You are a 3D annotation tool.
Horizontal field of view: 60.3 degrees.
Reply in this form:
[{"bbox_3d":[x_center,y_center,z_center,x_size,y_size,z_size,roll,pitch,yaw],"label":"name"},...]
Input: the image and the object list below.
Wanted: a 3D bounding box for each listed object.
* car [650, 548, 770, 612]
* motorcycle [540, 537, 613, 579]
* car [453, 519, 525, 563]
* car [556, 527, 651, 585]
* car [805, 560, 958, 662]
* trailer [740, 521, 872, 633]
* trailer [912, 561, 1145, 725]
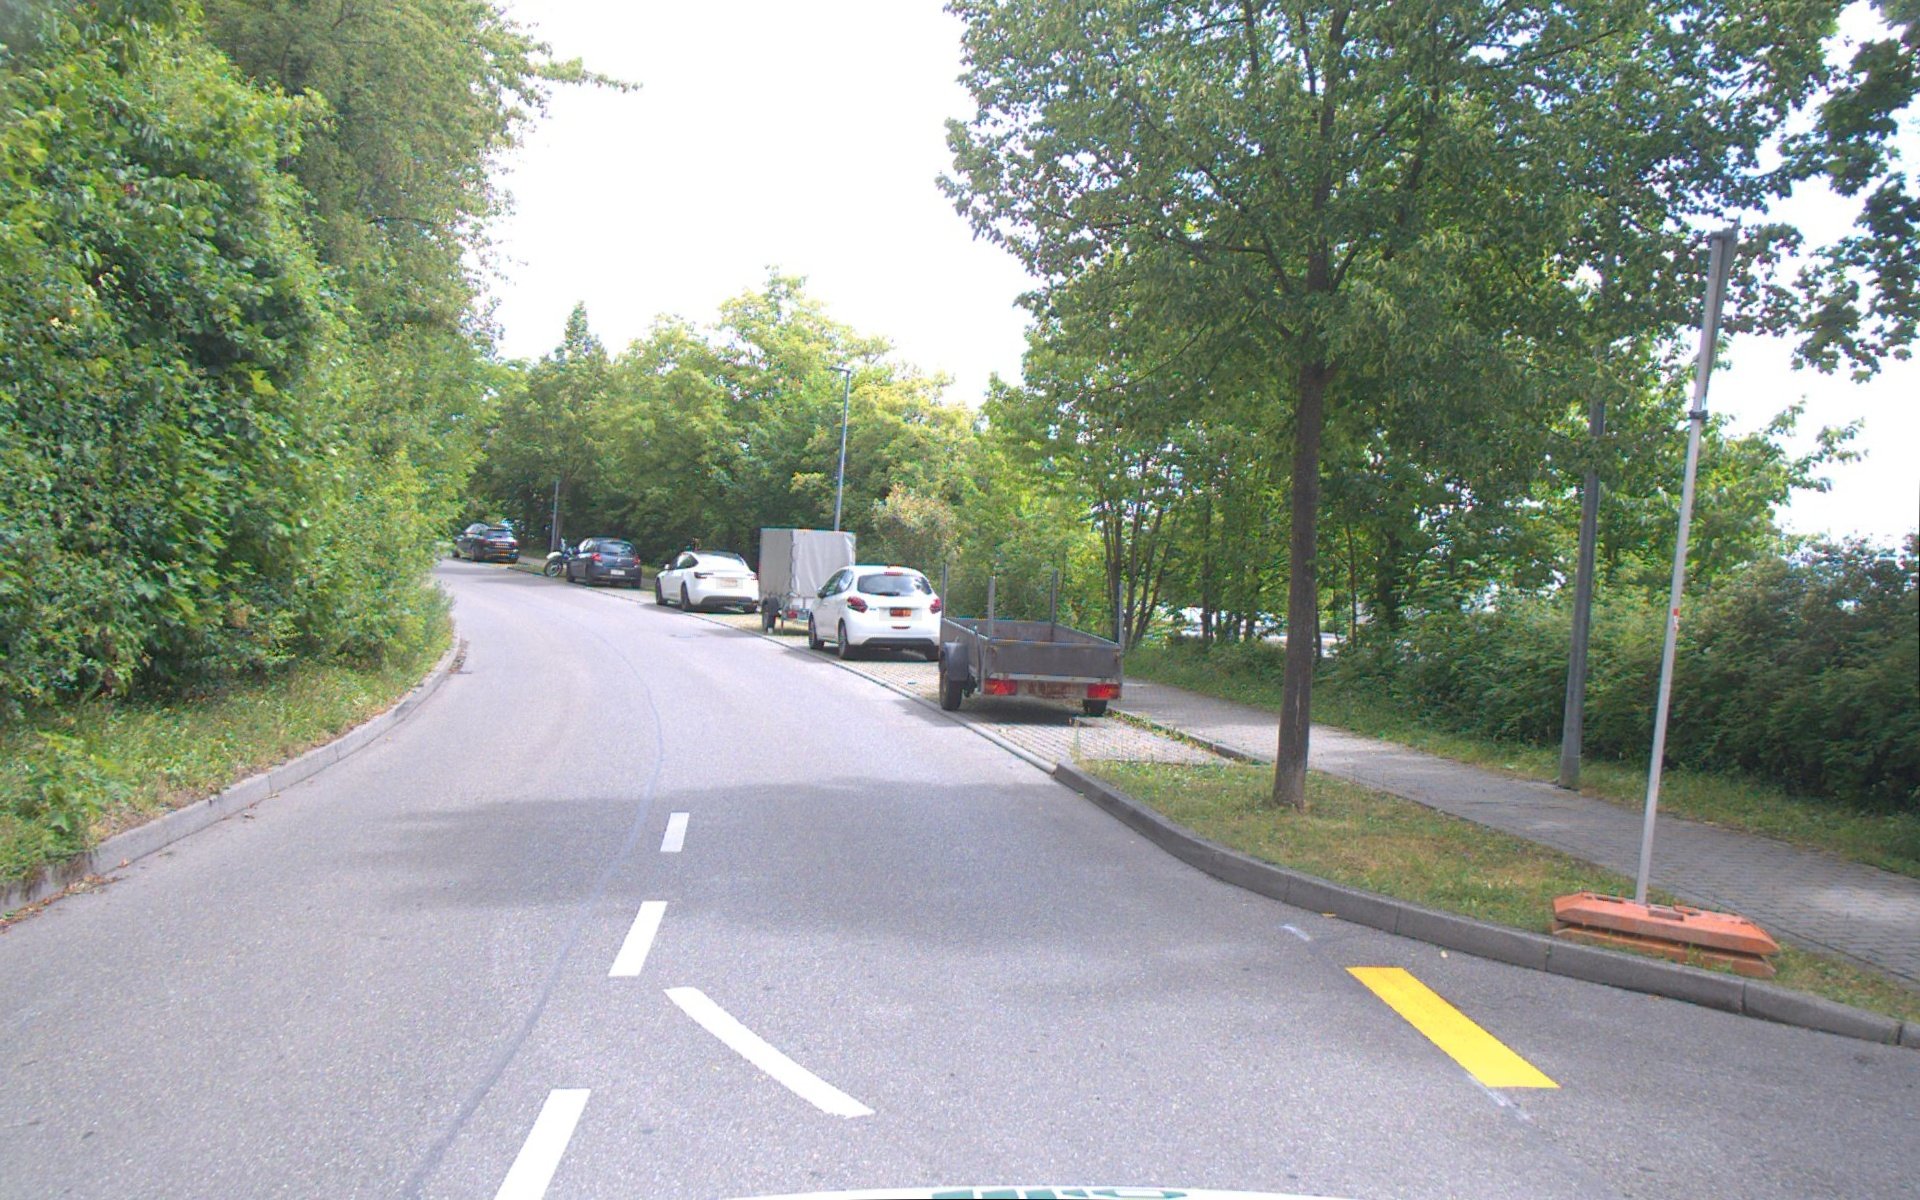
[{"bbox_3d":[-6.358,-0.534,41.733,1.862,1.400,4.319,2,2,-25],"label":"car"},{"bbox_3d":[-12.924,-1.420,55.803,2.121,1.287,1.071,3,4,11],"label":"motorcycle"},{"bbox_3d":[-18.817,-2.370,65.950,1.822,1.542,3.961,1,3,-30],"label":"car"},{"bbox_3d":[-11.379,-1.434,52.600,1.865,1.716,4.312,-1,3,-28],"label":"car"},{"bbox_3d":[-1.397,0.133,27.833,1.740,1.436,3.985,2,2,-15],"label":"car"},{"bbox_3d":[-3.237,-0.524,34.092,1.715,2.147,3.977,1,2,-21],"label":"trailer"},{"bbox_3d":[0.648,0.402,18.731,1.752,1.552,3.991,2,2,-11],"label":"trailer"}]
